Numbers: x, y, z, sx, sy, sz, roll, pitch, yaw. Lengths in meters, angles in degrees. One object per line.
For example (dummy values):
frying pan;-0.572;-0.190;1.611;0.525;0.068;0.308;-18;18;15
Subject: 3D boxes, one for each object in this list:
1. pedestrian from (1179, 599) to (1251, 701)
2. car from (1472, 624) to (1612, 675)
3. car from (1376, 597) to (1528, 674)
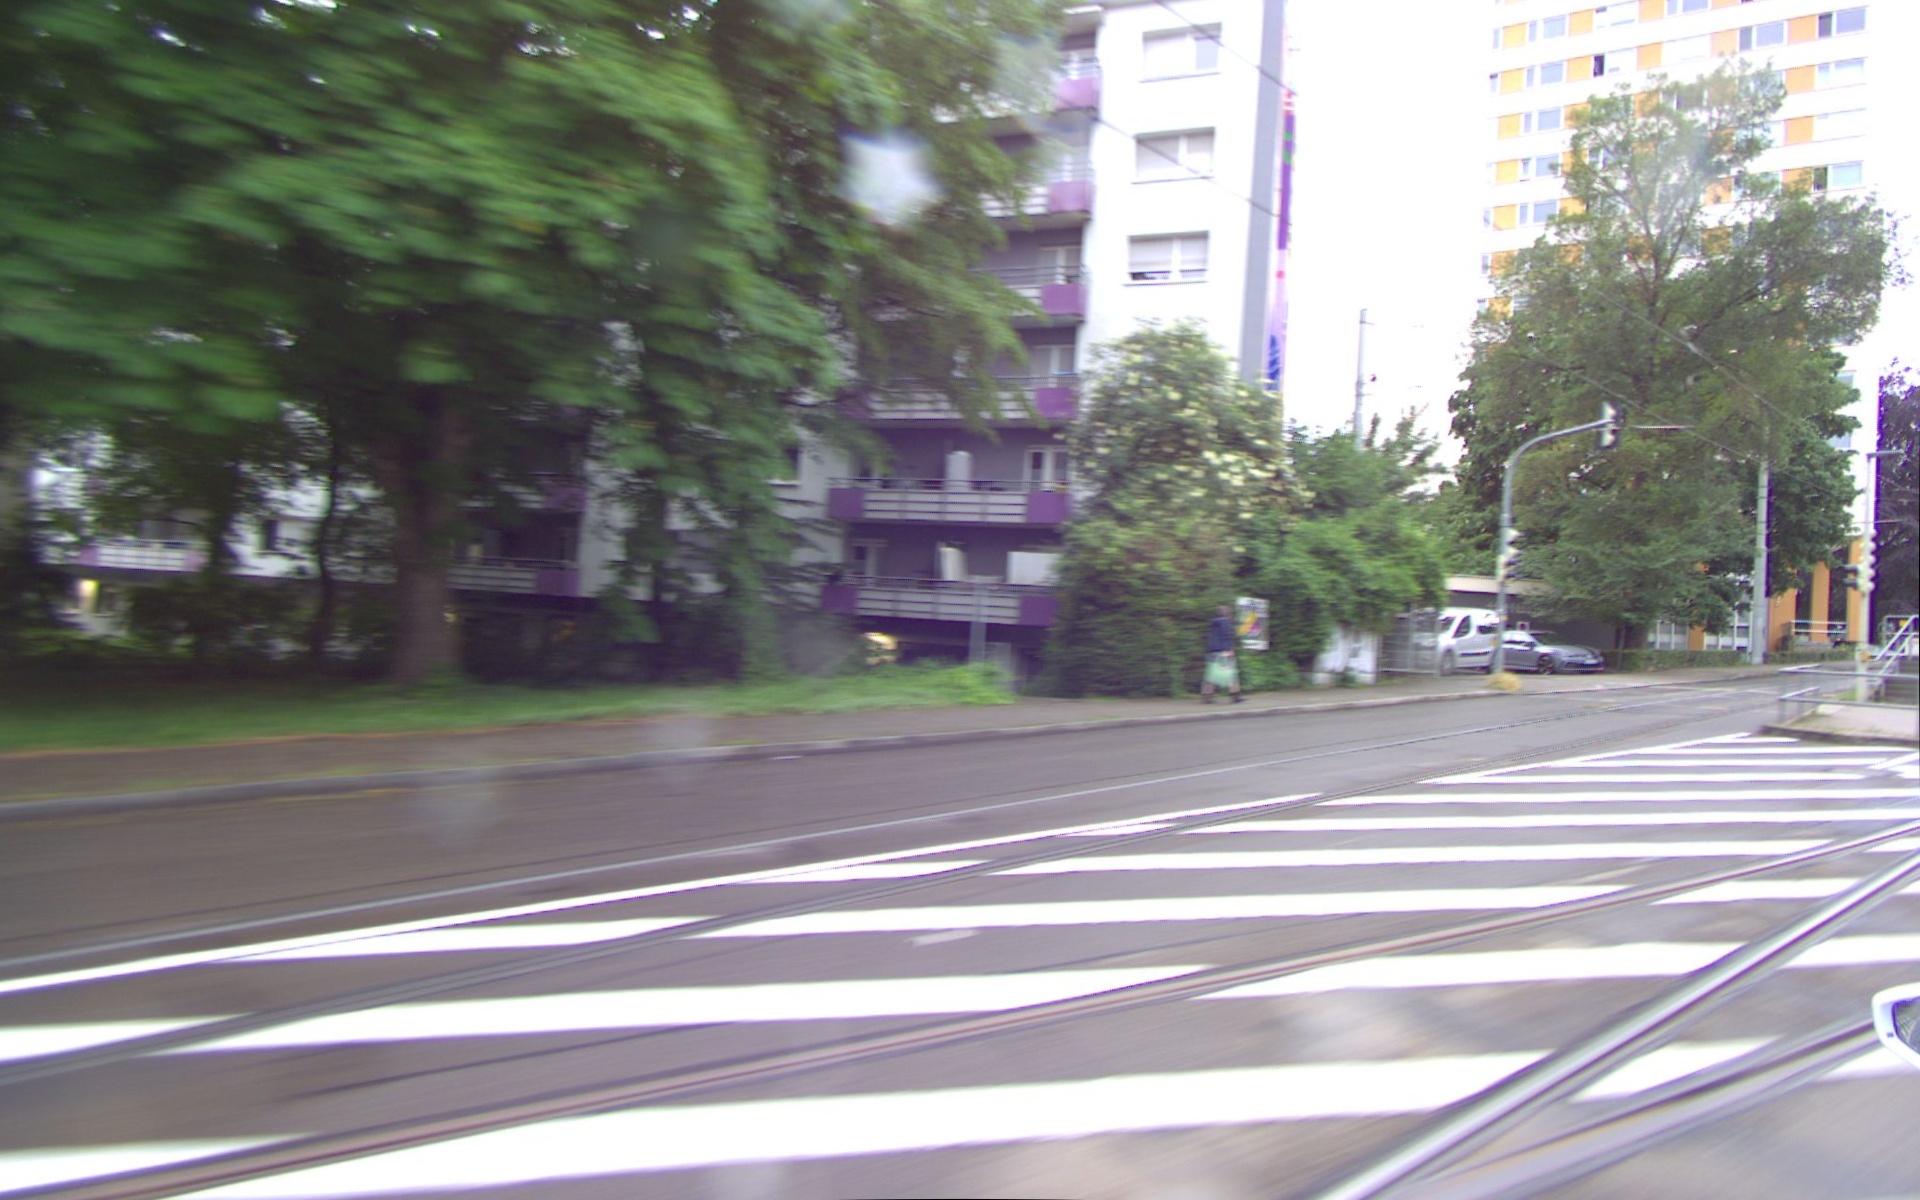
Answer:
pedestrian;4.401;0.849;17.340;0.908;1.700;0.734;2;0;-31
car;19.234;1.598;33.397;1.655;1.424;3.990;6;-2;-13
car;13.532;0.984;27.562;3.961;1.705;1.981;7;-3;-34
